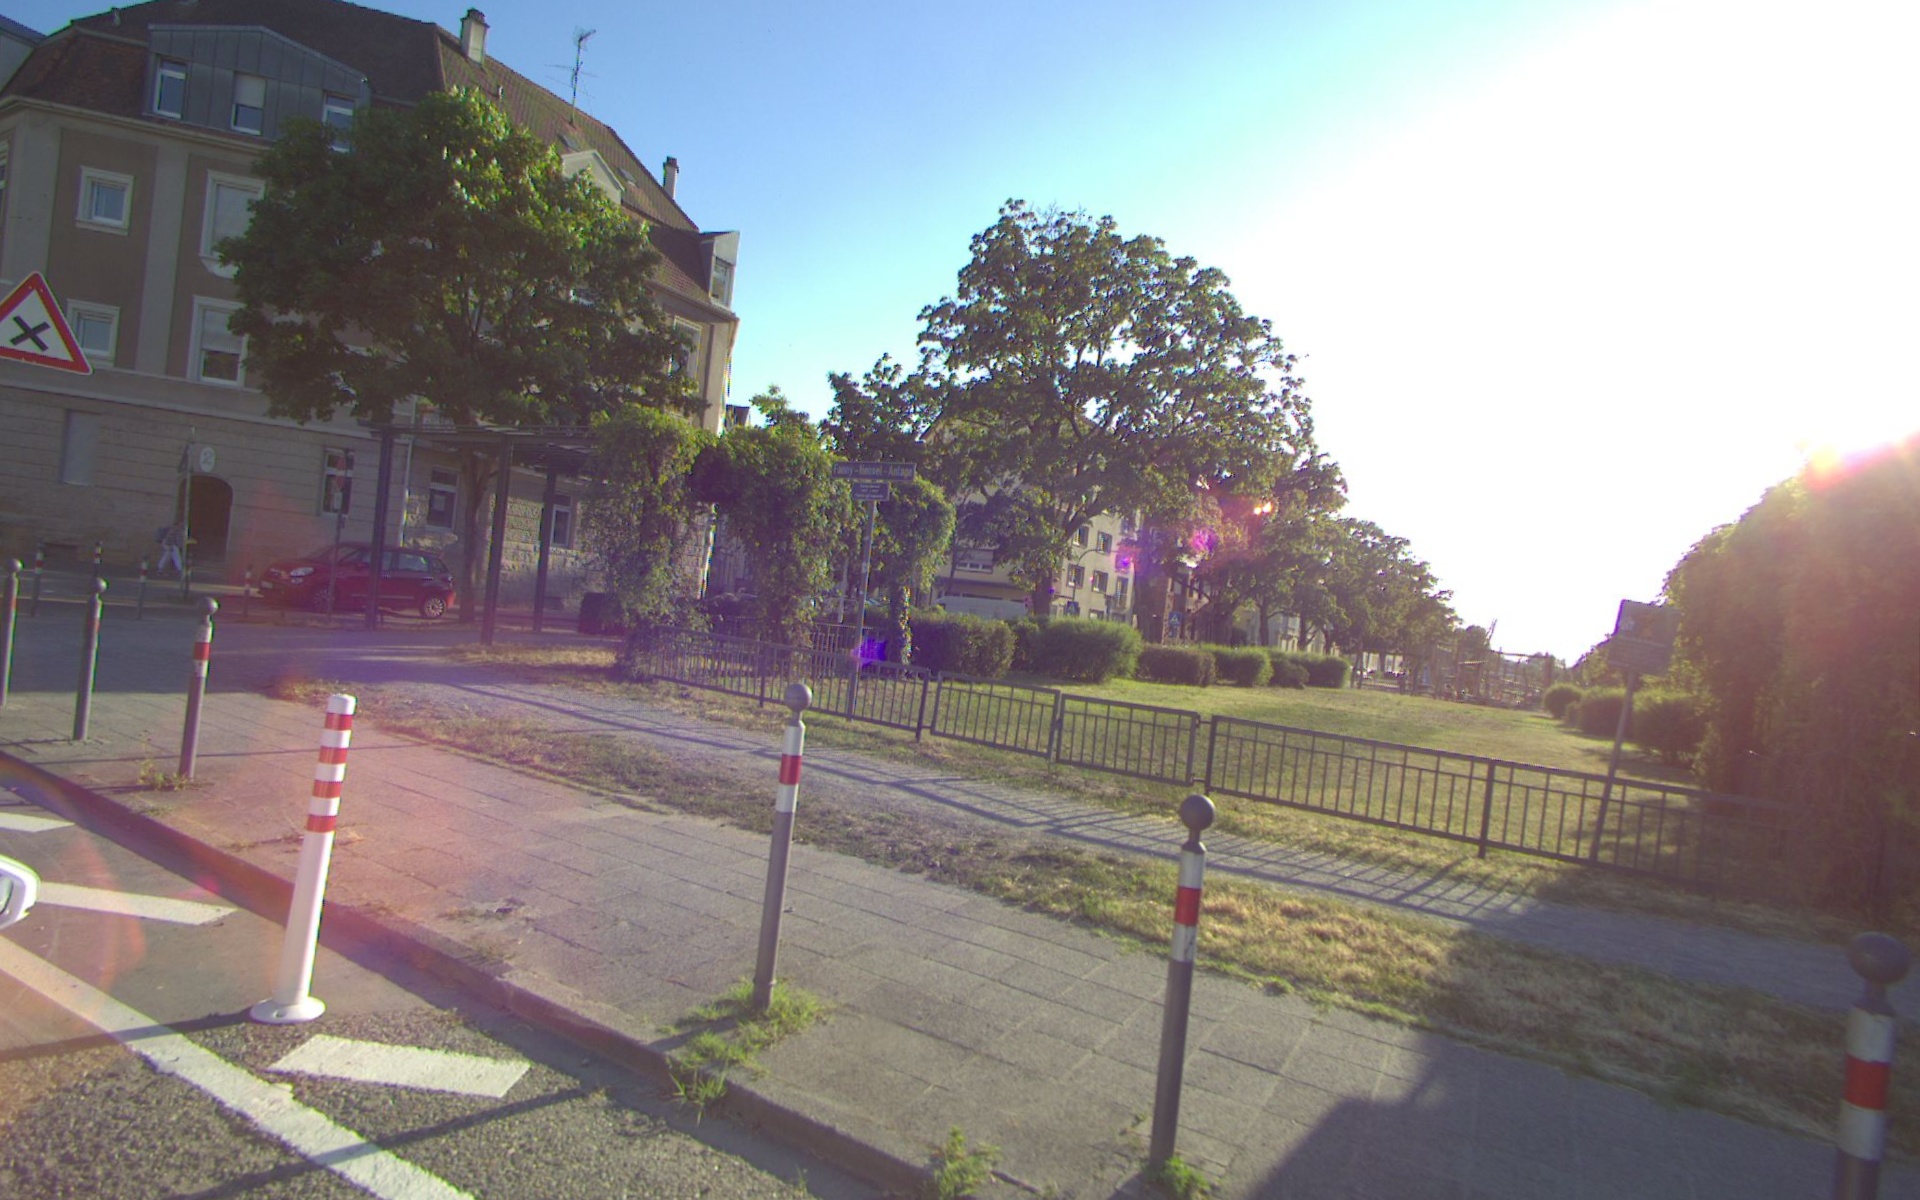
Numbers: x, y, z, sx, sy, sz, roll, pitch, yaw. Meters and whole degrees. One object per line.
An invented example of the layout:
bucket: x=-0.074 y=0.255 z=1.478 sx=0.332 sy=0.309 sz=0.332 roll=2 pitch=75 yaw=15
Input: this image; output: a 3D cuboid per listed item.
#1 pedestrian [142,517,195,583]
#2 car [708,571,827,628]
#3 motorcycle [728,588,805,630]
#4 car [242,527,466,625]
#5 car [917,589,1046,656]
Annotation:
pedestrian: x=-20.154 y=-1.277 z=25.628 sx=0.812 sy=1.564 sz=0.736 roll=7 pitch=1 yaw=-28
car: x=-6.842 y=0.025 z=36.100 sx=1.782 sy=1.552 sz=4.080 roll=8 pitch=0 yaw=32
motorcycle: x=-8.498 y=0.375 z=44.105 sx=3.170 sy=1.505 sz=0.854 roll=5 pitch=-1 yaw=19
car: x=-14.303 y=-0.510 z=23.987 sx=1.782 sy=1.762 sz=4.080 roll=9 pitch=0 yaw=32
car: x=1.149 y=1.224 z=54.433 sx=6.564 sy=2.778 sz=2.318 roll=7 pitch=0 yaw=2
